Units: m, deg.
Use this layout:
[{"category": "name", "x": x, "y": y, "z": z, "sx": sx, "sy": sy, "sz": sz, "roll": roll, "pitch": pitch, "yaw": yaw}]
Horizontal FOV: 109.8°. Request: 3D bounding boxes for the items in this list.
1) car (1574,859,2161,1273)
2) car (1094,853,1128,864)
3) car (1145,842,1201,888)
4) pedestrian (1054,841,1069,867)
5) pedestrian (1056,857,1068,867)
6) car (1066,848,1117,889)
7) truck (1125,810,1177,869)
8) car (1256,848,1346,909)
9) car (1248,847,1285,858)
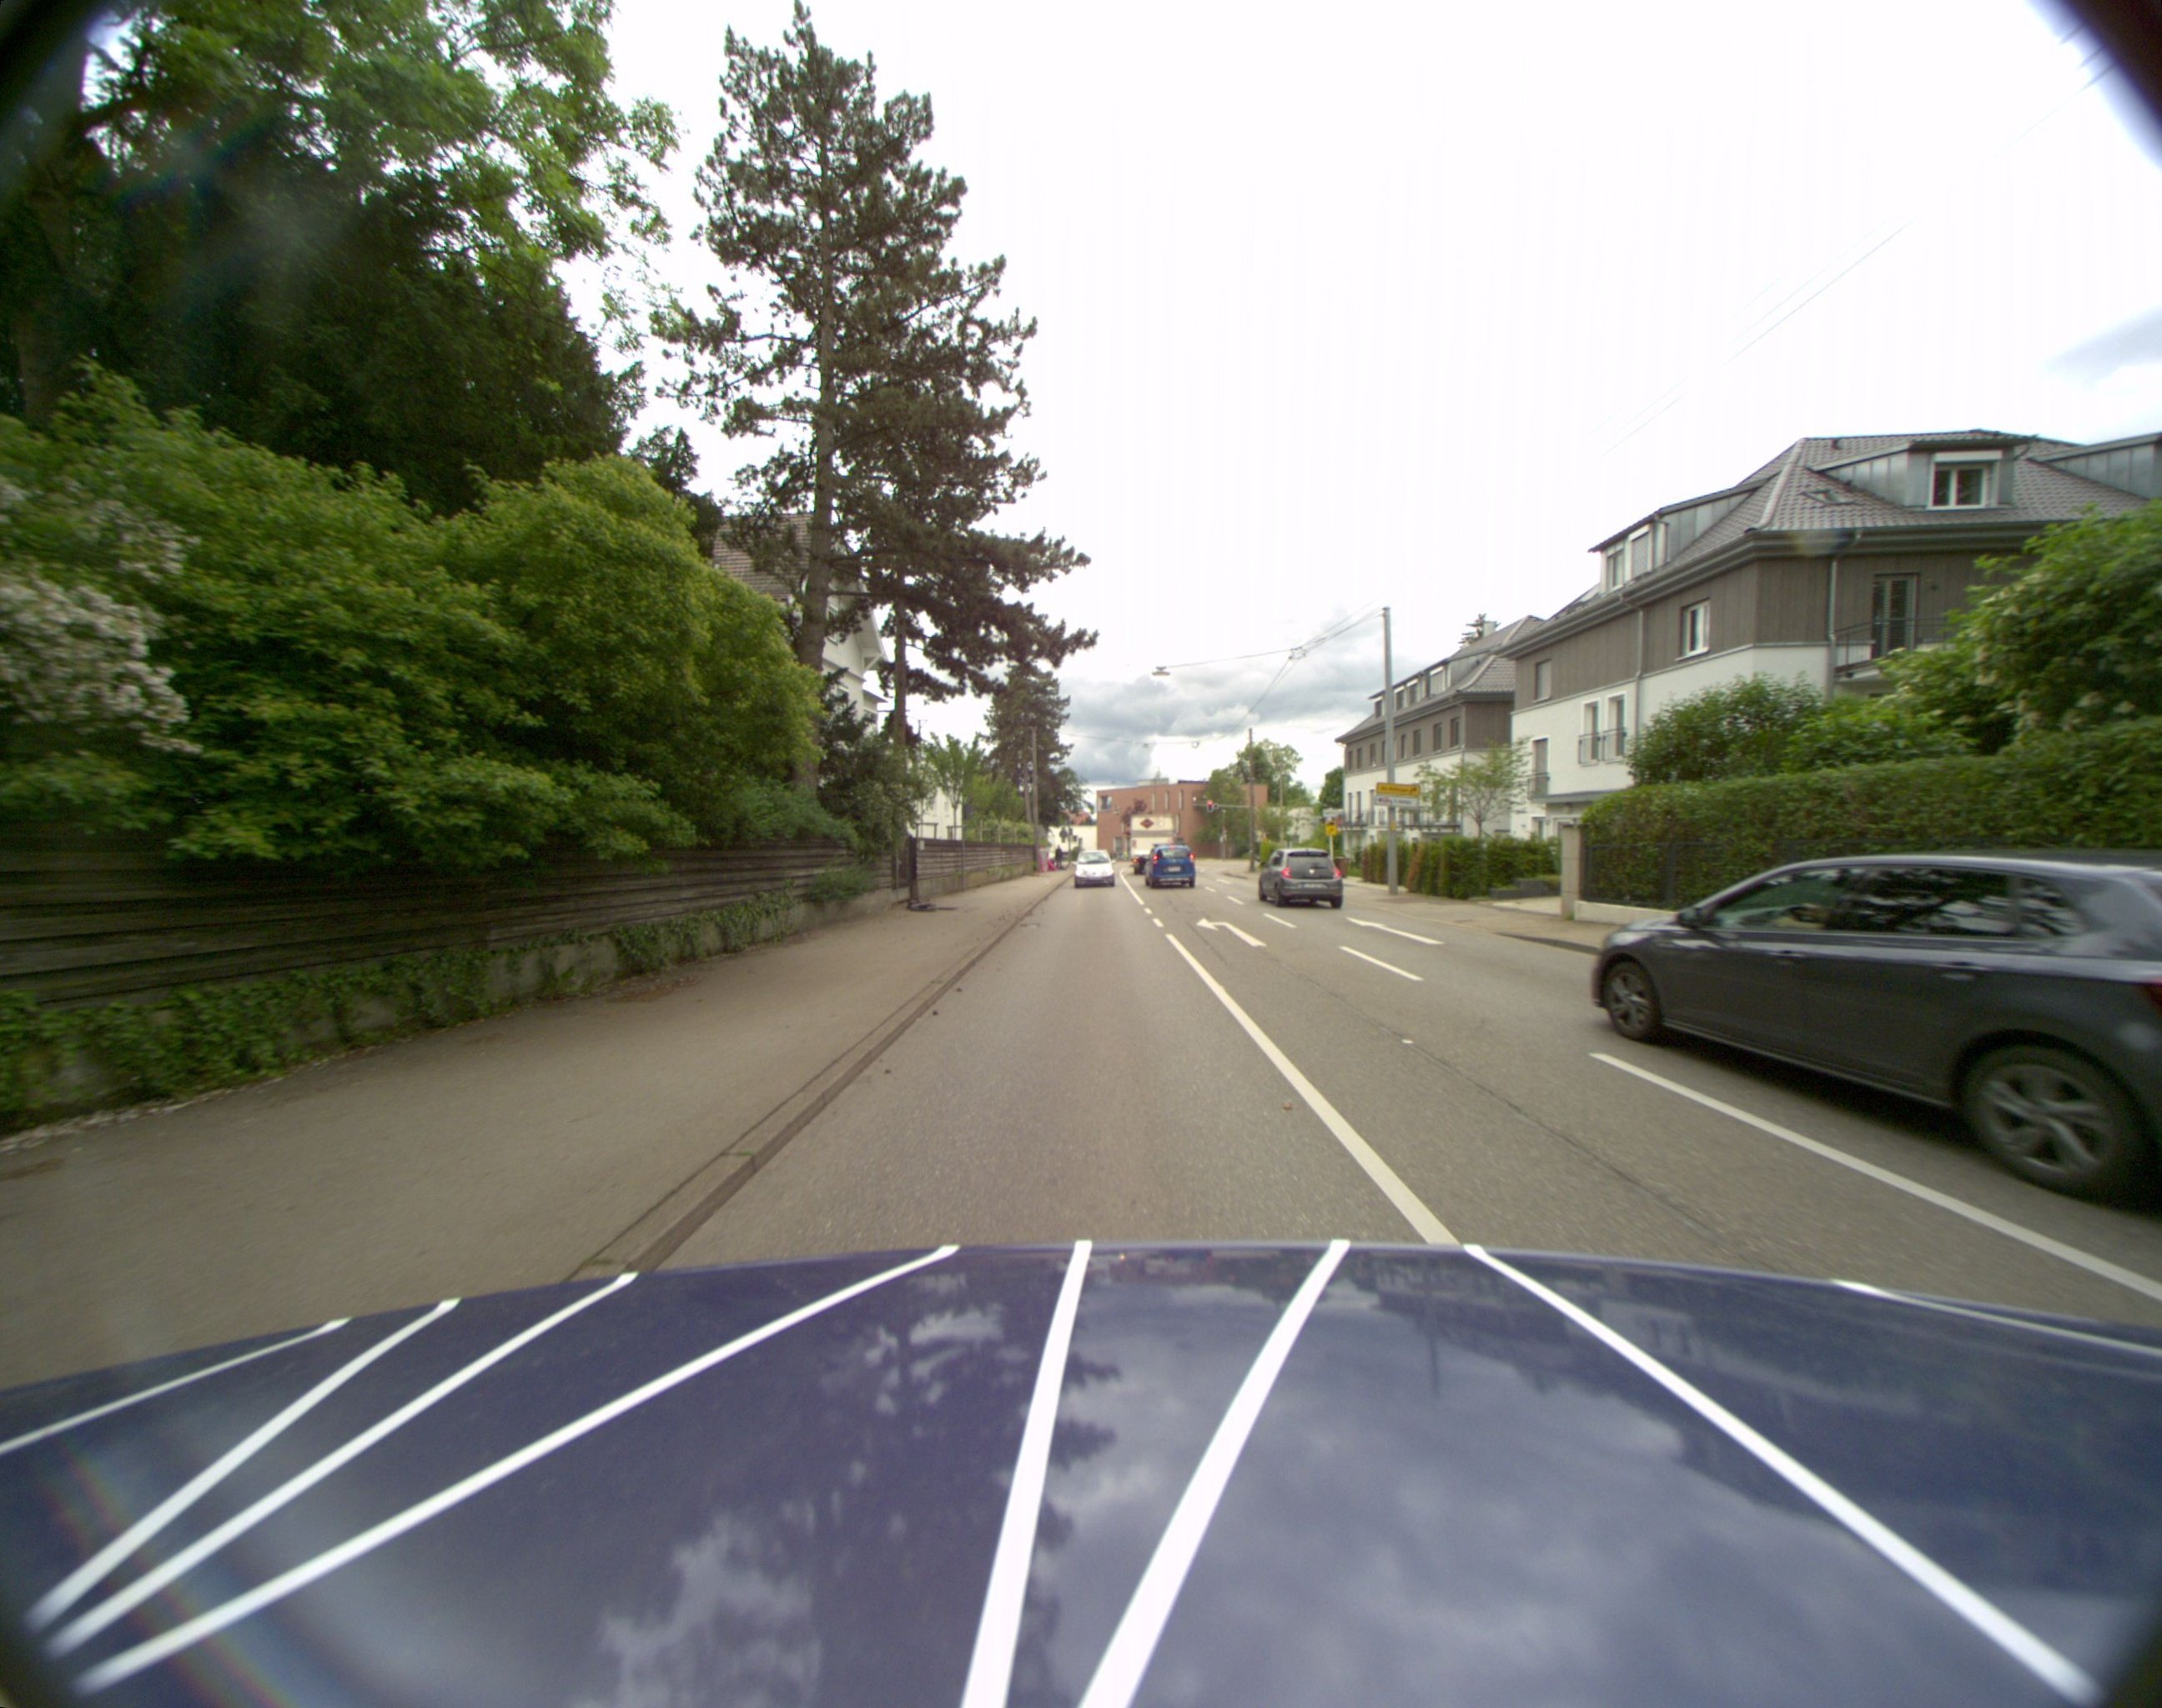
[{"category": "car", "x": 4.818, "y": 0.779, "z": 4.218, "sx": 1.684, "sy": 1.463, "sz": 4.018, "roll": -1, "pitch": 0, "yaw": 2}, {"category": "car", "x": 4.278, "y": 0.659, "z": 108.439, "sx": 4.442, "sy": 1.549, "sz": 1.996, "roll": 0, "pitch": 0, "yaw": -23}, {"category": "car", "x": 3.631, "y": 0.395, "z": 30.631, "sx": 1.810, "sy": 1.707, "sz": 4.378, "roll": 0, "pitch": 0, "yaw": 1}, {"category": "pedestrian", "x": -1.492, "y": -0.009, "z": 58.019, "sx": 0.849, "sy": 1.912, "sz": 0.800, "roll": -1, "pitch": 1, "yaw": -18}, {"category": "pedestrian", "x": -1.415, "y": 0.582, "z": 57.016, "sx": 0.648, "sy": 0.692, "sz": 0.583, "roll": -1, "pitch": 1, "yaw": -40}, {"category": "car", "x": 0.479, "y": 0.569, "z": 32.220, "sx": 1.998, "sy": 1.587, "sz": 4.000, "roll": -1, "pitch": 0, "yaw": 2}, {"category": "truck", "x": 4.346, "y": -0.929, "z": 48.372, "sx": 2.784, "sy": 3.442, "sz": 7.492, "roll": -1, "pitch": 2, "yaw": 2}, {"category": "car", "x": 5.884, "y": 0.605, "z": 20.673, "sx": 1.688, "sy": 1.510, "sz": 3.537, "roll": 0, "pitch": 1, "yaw": 5}, {"category": "car", "x": 22.483, "y": -0.182, "z": 92.148, "sx": 4.003, "sy": 1.237, "sz": 1.996, "roll": -1, "pitch": 2, "yaw": -20}]
